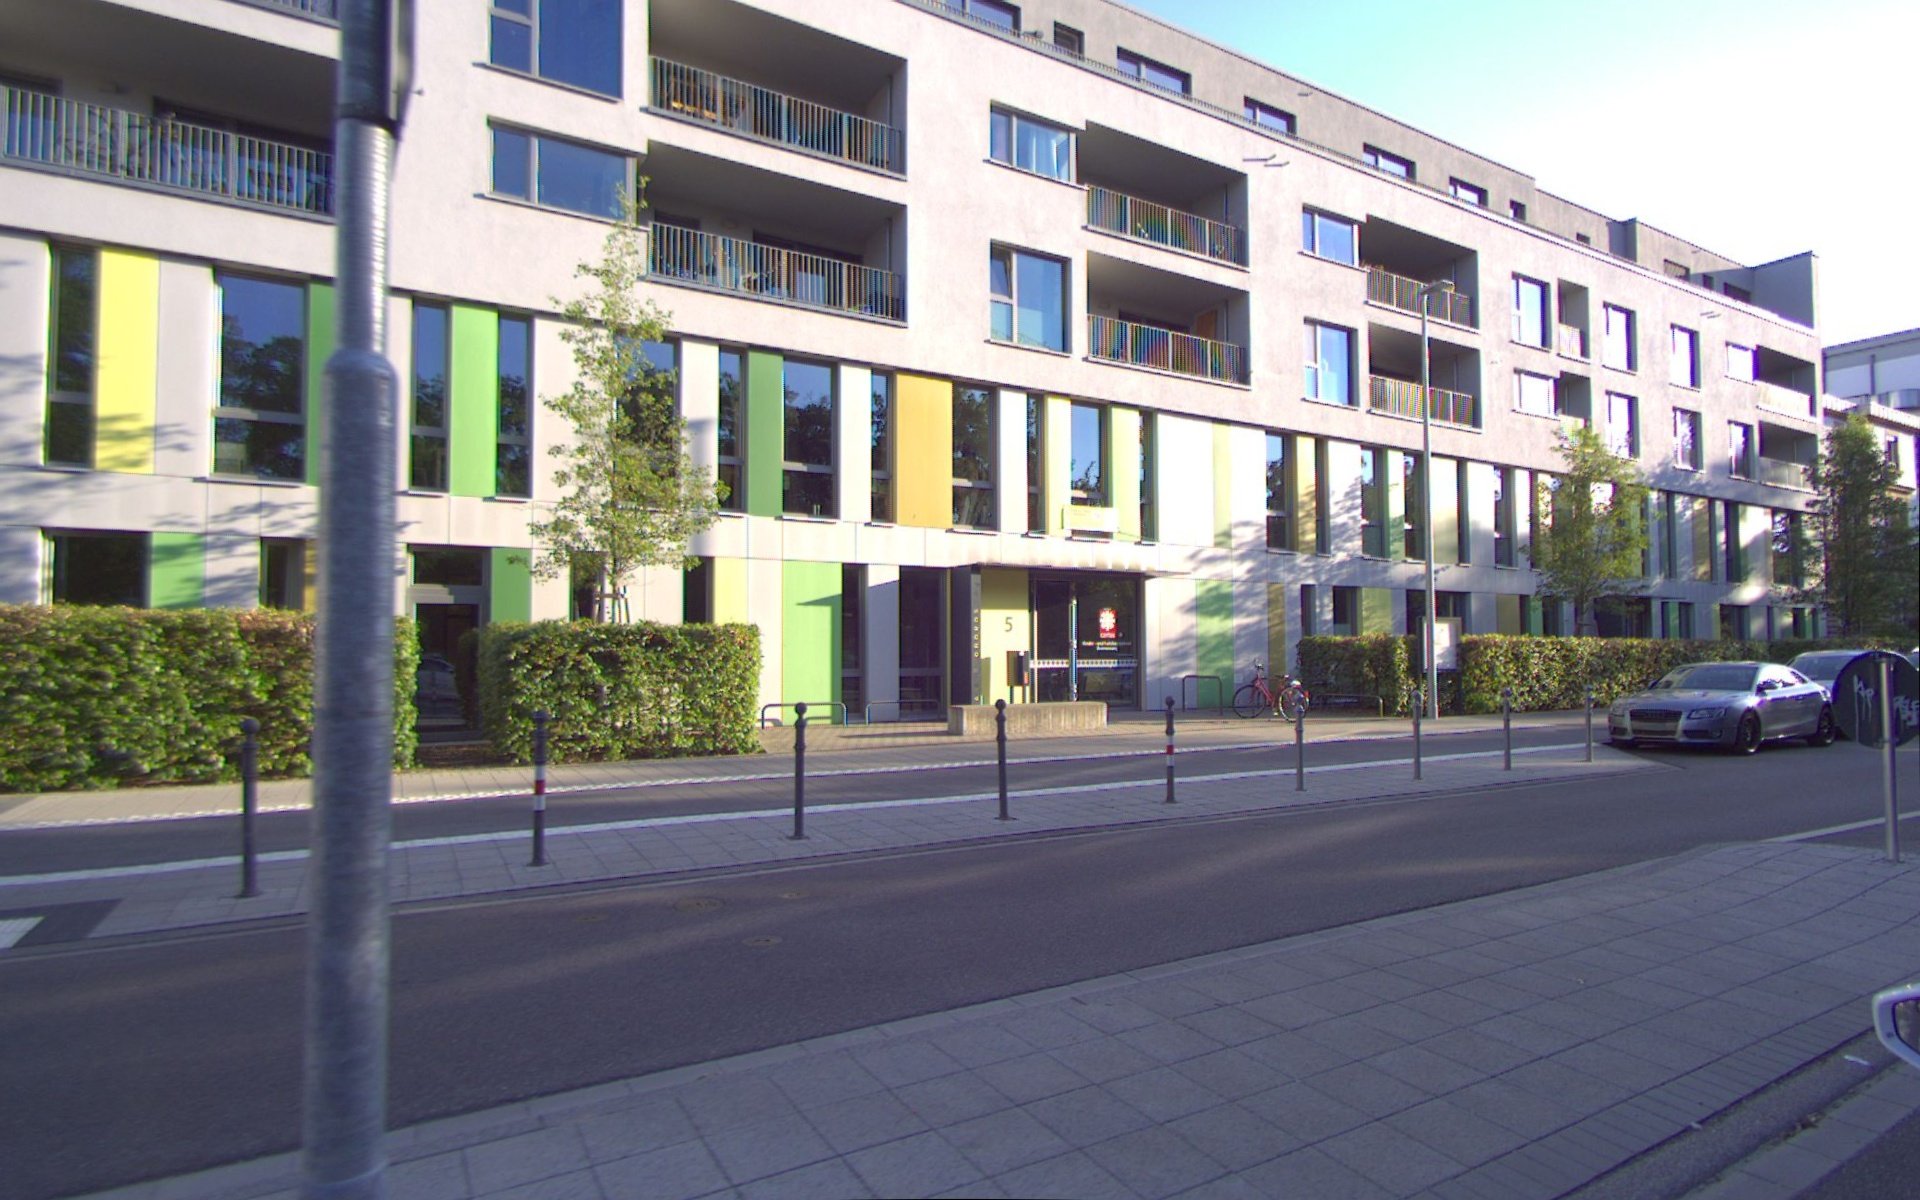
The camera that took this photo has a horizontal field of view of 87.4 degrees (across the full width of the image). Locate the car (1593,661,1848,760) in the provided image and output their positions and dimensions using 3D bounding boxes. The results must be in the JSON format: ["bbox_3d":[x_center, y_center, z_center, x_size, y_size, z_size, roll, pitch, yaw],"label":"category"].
[{"bbox_3d":[12.273,1.680,16.154,4.345,1.374,1.734,2,-4,-31],"label":"car"}]

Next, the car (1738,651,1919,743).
[{"bbox_3d":[16.540,1.750,18.871,4.071,1.553,1.733,2,-4,-33],"label":"car"}]

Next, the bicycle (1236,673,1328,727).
[{"bbox_3d":[6.250,1.928,19.590,0.610,0.930,1.742,2,-2,-31],"label":"bicycle"}]

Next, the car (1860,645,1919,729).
[{"bbox_3d":[21.269,1.796,21.518,4.366,1.697,1.734,1,-4,-32],"label":"car"}]
